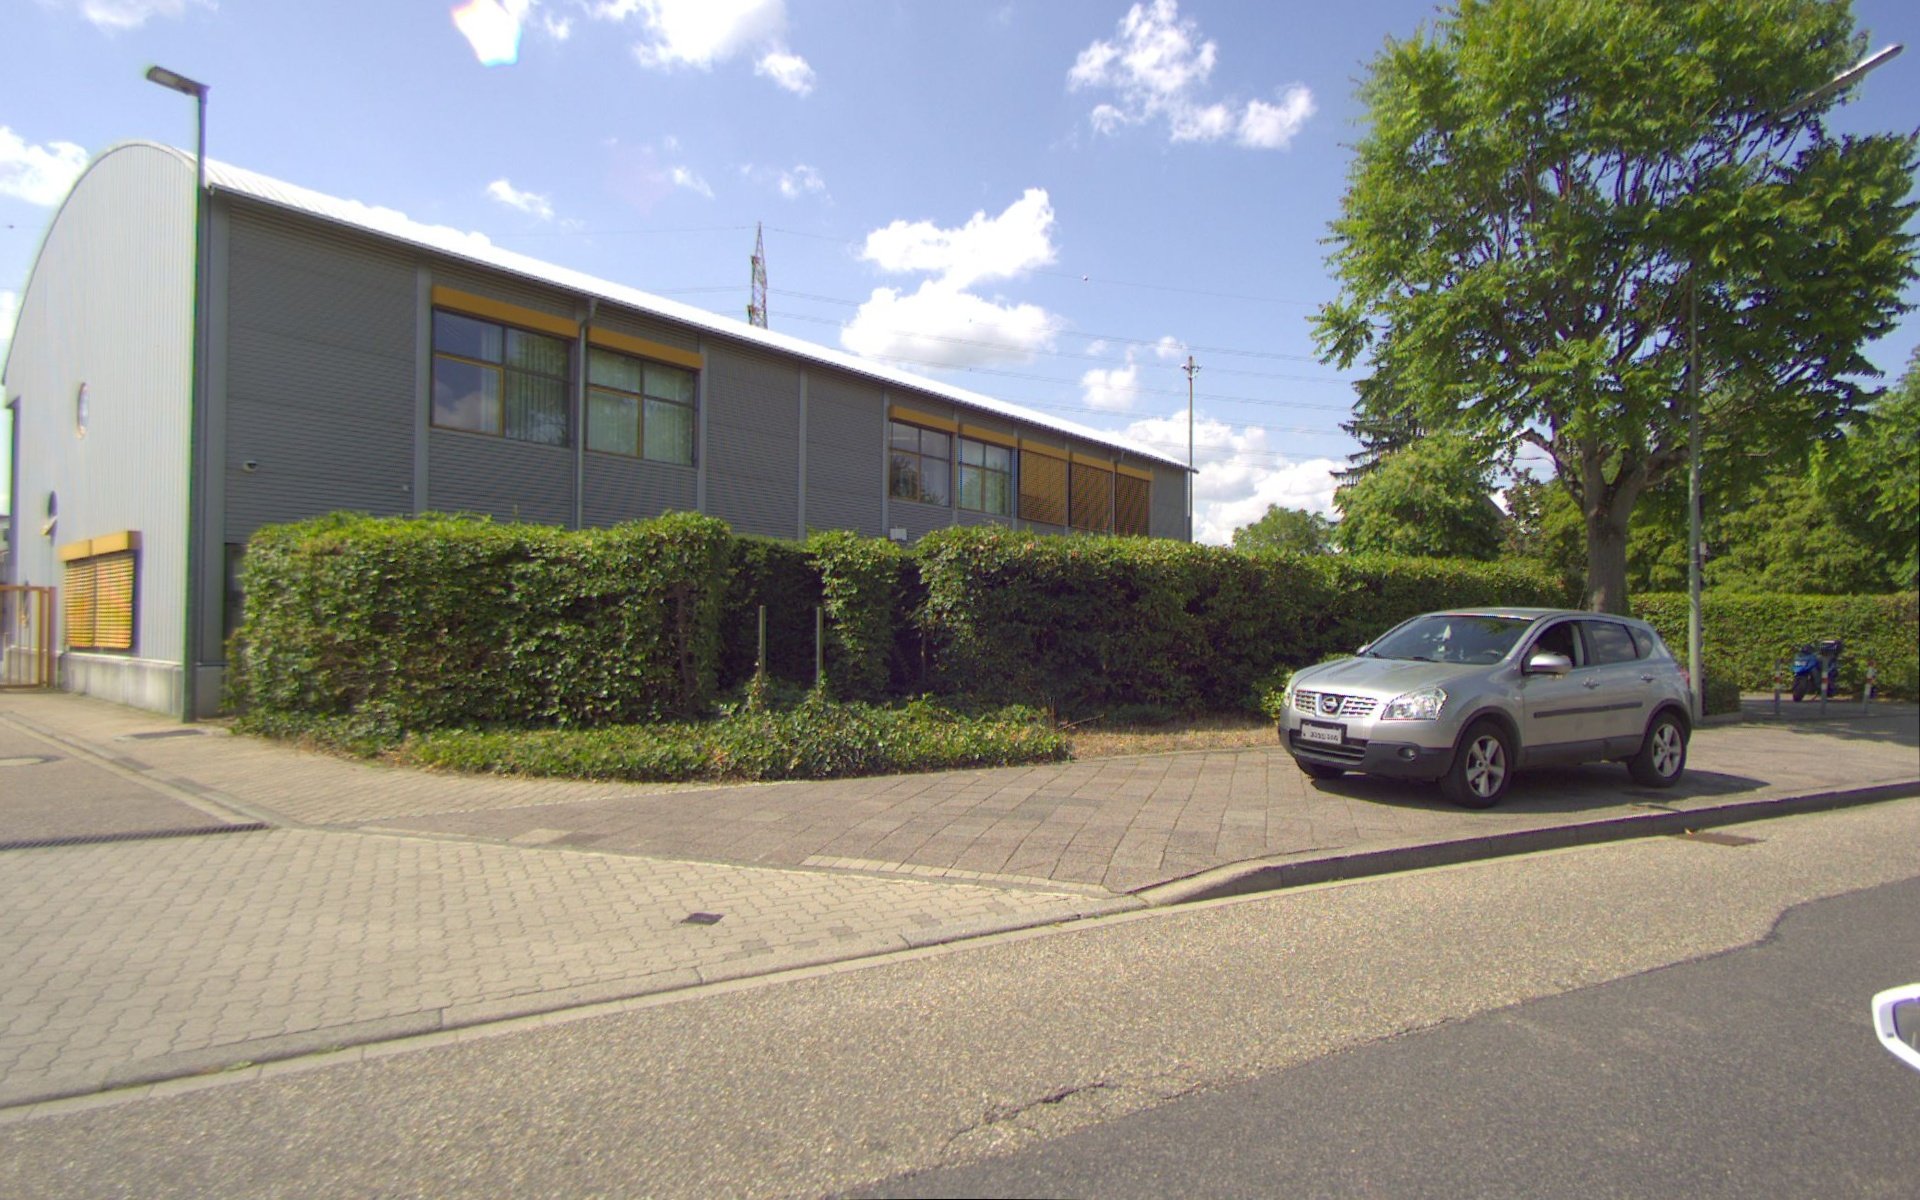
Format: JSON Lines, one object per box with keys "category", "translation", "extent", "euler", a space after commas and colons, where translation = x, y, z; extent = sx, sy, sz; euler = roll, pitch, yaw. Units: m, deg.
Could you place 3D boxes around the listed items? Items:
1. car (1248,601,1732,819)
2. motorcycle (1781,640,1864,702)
{"category": "car", "translation": [4.906, 0.869, 9.174], "extent": [4.421, 1.595, 1.750], "euler": [2, -1, -28]}
{"category": "motorcycle", "translation": [17.765, 1.440, 20.678], "extent": [2.058, 1.236, 0.530], "euler": [1, -2, -26]}
